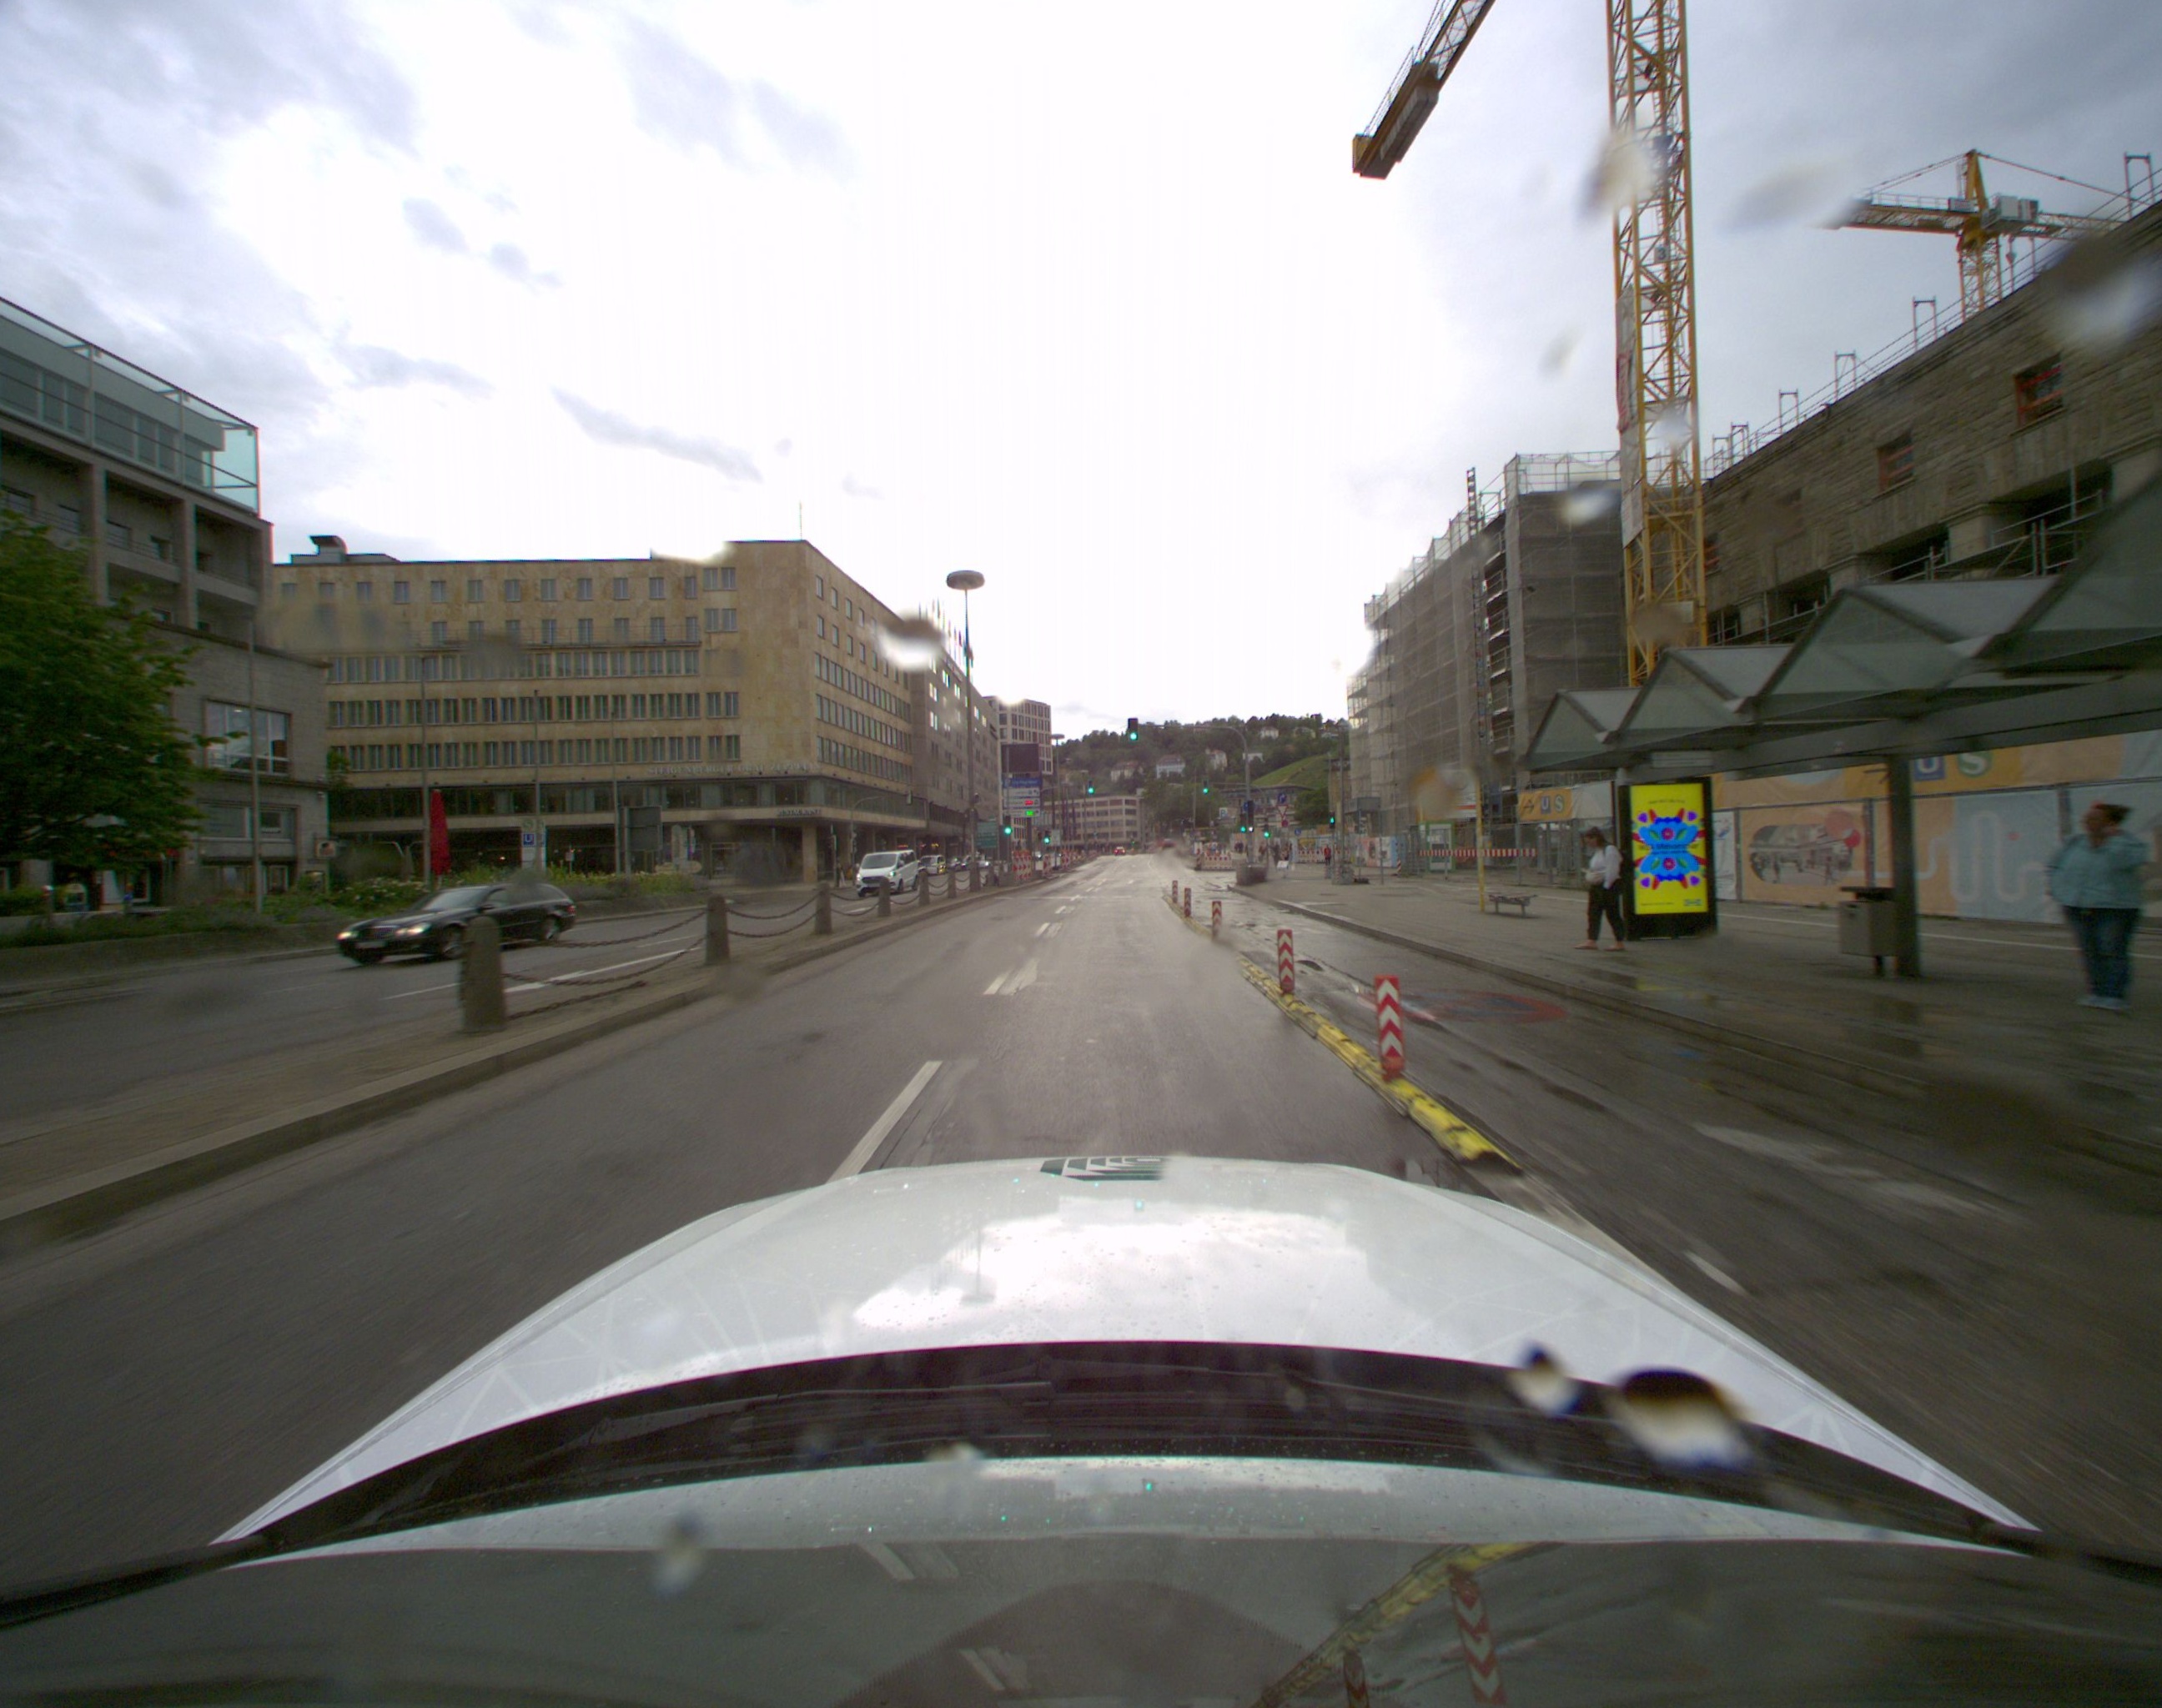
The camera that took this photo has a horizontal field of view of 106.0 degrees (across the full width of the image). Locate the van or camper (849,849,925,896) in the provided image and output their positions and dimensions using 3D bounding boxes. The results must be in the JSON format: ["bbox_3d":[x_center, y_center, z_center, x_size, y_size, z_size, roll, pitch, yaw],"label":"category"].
[{"bbox_3d":[-9.044,0.825,38.539,1.985,2.013,5.194,-2,0,4],"label":"van or camper"}]

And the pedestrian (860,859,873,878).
[{"bbox_3d":[-18.113,1.188,68.662,0.718,1.557,0.906,-3,0,4],"label":"pedestrian"}]

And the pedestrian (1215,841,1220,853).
[{"bbox_3d":[20.460,-1.050,121.997,0.684,1.841,0.616,-3,0,8],"label":"pedestrian"}]

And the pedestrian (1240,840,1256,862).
[{"bbox_3d":[14.249,-0.247,69.450,0.937,1.841,0.953,-3,0,33],"label":"pedestrian"}]

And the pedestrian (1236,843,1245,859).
[{"bbox_3d":[19.206,-0.383,98.130,0.941,1.841,0.870,-3,0,9],"label":"pedestrian"}]

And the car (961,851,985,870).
[{"bbox_3d":[-12.632,0.725,95.396,1.985,2.013,4.168,-3,0,4],"label":"car"}]

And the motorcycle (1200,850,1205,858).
[{"bbox_3d":[10.568,-0.003,70.968,0.369,0.722,0.923,-1,1,5],"label":"motorcycle"}]

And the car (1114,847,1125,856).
[{"bbox_3d":[7.072,-0.462,150.659,1.986,1.552,4.002,-3,0,2],"label":"car"}]

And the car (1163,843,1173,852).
[{"bbox_3d":[17.495,-1.366,164.017,1.768,1.639,4.004,-3,-1,4],"label":"car"}]

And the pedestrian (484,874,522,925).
[{"bbox_3d":[-20.578,1.599,29.018,0.663,1.734,0.795,-3,0,8],"label":"pedestrian"}]

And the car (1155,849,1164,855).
[{"bbox_3d":[19.470,-0.598,202.206,1.986,1.442,4.002,-1,1,1],"label":"car"}]

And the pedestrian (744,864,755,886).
[{"bbox_3d":[-26.094,1.661,64.101,0.696,1.644,0.647,-3,0,-16],"label":"pedestrian"}]

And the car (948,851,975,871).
[{"bbox_3d":[-13.077,0.745,89.479,1.985,2.013,4.004,-3,0,4],"label":"car"}]

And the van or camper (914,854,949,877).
[{"bbox_3d":[-14.037,1.055,76.727,1.985,2.013,4.969,-3,0,3],"label":"van or camper"}]

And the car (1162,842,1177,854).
[{"bbox_3d":[13.966,-0.931,128.673,1.986,1.706,4.002,-3,0,2],"label":"car"}]

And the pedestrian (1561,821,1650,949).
[{"bbox_3d":[7.206,0.407,11.193,0.705,1.679,0.717,-2,0,-26],"label":"pedestrian"}]

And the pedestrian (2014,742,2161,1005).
[{"bbox_3d":[8.555,0.145,6.829,0.808,2.050,0.916,-1,0,-39],"label":"pedestrian"}]

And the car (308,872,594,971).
[{"bbox_3d":[-13.147,1.308,17.534,1.985,1.616,4.983,-3,0,4],"label":"car"}]

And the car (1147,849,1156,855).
[{"bbox_3d":[16.366,-0.517,188.831,1.812,1.442,4.002,-1,1,2],"label":"car"}]

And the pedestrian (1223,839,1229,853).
[{"bbox_3d":[19.159,-1.021,107.423,0.684,1.841,0.616,-3,0,8],"label":"pedestrian"}]

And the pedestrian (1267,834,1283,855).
[{"bbox_3d":[17.074,-0.829,71.718,0.955,1.841,0.856,-2,0,-44],"label":"pedestrian"}]

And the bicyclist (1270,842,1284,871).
[{"bbox_3d":[12.635,0.180,52.482,0.699,1.845,0.970,-1,0,8],"label":"bicyclist"}]

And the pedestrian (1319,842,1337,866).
[{"bbox_3d":[17.012,0.008,56.116,0.768,1.608,0.860,-2,0,-11],"label":"pedestrian"}]

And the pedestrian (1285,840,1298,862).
[{"bbox_3d":[16.837,-0.233,65.108,0.860,1.661,0.798,-3,0,5],"label":"pedestrian"}]

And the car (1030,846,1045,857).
[{"bbox_3d":[-7.214,-0.364,136.307,1.985,1.750,4.004,-3,0,4],"label":"car"}]

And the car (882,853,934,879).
[{"bbox_3d":[-11.634,0.789,55.121,1.983,1.616,4.584,-3,0,6],"label":"car"}]

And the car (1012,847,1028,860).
[{"bbox_3d":[-10.268,-0.108,136.852,1.985,2.013,4.004,-2,0,4],"label":"car"}]

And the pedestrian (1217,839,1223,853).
[{"bbox_3d":[18.349,-1.044,107.520,0.684,1.841,0.616,-3,0,8],"label":"pedestrian"}]

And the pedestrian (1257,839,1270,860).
[{"bbox_3d":[16.646,-0.388,74.305,0.943,1.841,0.867,-3,0,0],"label":"pedestrian"}]

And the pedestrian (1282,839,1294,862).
[{"bbox_3d":[17.217,-0.270,67.628,0.858,1.841,0.800,-3,0,13],"label":"pedestrian"}]

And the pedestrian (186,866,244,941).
[{"bbox_3d":[-24.065,1.362,22.648,0.664,2.013,0.794,-3,0,3],"label":"pedestrian"}]

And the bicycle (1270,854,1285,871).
[{"bbox_3d":[12.641,0.534,52.426,0.703,1.049,1.810,-1,1,8],"label":"bicycle"}]

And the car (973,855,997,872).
[{"bbox_3d":[-10.039,0.983,85.351,1.761,1.609,4.230,-3,0,3],"label":"car"}]

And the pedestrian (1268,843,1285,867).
[{"bbox_3d":[13.194,0.059,54.990,0.787,1.608,0.841,-3,0,32],"label":"pedestrian"}]

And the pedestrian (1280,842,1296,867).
[{"bbox_3d":[13.854,0.045,54.468,0.787,1.608,0.841,-3,0,32],"label":"pedestrian"}]

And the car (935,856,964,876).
[{"bbox_3d":[-13.399,1.189,83.301,1.985,1.837,4.004,-3,0,4],"label":"car"}]

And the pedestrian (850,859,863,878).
[{"bbox_3d":[-18.978,1.192,68.824,0.718,1.557,1.006,-3,0,4],"label":"pedestrian"}]
